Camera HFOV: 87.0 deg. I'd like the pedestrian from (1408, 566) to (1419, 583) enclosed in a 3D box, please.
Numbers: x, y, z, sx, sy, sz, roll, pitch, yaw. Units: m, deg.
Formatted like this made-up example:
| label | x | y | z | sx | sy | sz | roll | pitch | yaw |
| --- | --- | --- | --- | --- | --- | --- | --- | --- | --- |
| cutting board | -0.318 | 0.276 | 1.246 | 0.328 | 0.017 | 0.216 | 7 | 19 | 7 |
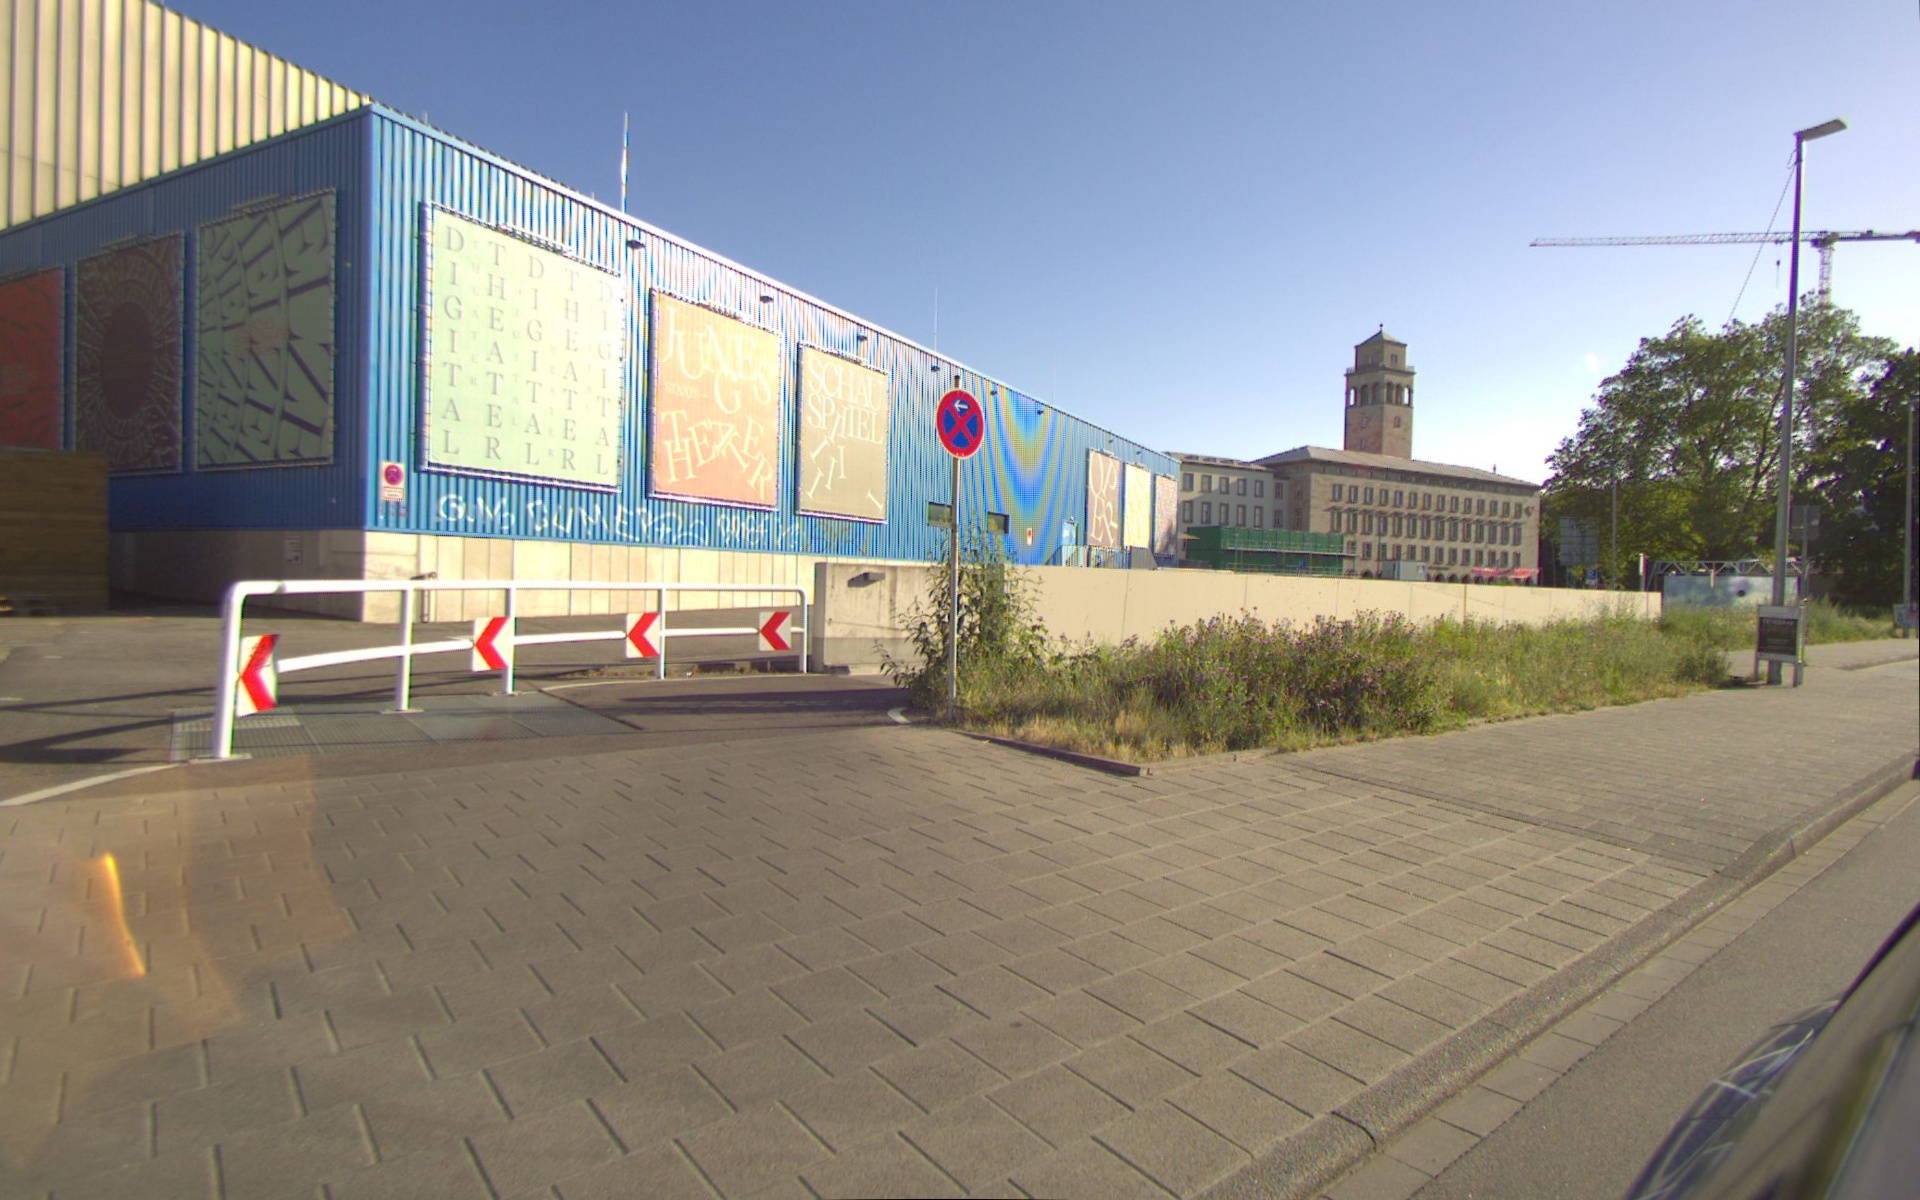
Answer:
| label | x | y | z | sx | sy | sz | roll | pitch | yaw |
| --- | --- | --- | --- | --- | --- | --- | --- | --- | --- |
| pedestrian | 33.982 | -1.911 | 75.813 | 0.432 | 1.312 | 0.574 | -1 | 0 | -16 |
